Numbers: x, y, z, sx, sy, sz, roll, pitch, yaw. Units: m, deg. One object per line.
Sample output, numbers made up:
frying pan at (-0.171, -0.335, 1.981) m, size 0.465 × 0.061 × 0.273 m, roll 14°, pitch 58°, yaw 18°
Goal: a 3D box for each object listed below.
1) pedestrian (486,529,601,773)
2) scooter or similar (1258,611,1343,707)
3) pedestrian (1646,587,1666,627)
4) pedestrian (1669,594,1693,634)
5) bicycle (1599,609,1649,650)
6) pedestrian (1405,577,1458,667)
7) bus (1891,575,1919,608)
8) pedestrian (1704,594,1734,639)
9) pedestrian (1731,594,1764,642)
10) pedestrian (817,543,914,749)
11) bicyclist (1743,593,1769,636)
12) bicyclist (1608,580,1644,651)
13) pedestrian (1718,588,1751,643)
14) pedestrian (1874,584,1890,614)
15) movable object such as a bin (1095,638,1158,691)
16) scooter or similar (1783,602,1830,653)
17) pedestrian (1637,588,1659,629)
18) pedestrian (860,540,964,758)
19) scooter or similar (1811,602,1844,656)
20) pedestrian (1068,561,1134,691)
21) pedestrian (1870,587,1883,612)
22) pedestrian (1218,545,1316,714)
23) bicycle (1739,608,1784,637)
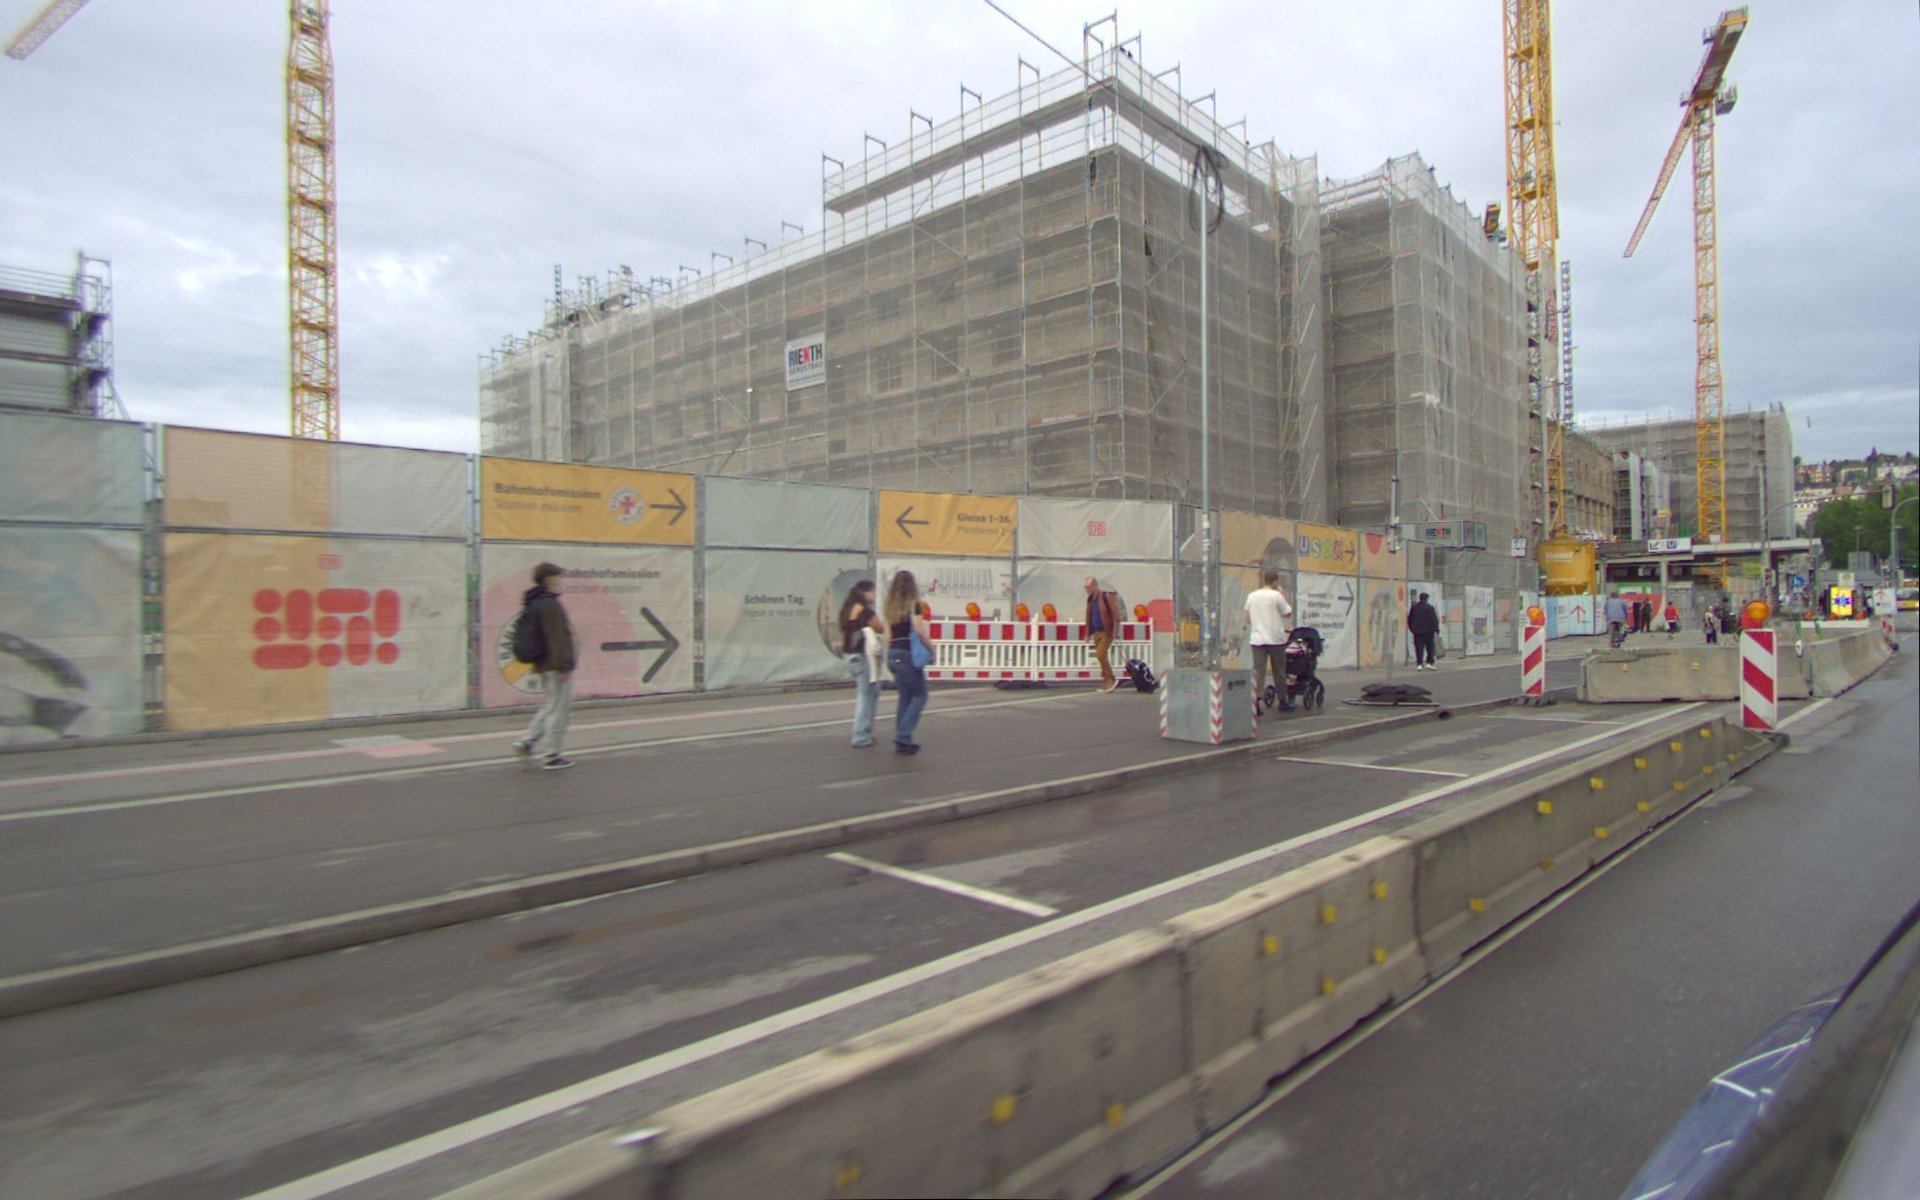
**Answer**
pedestrian at (-3.472, 0.402, 8.435) m, size 0.682 × 1.913 × 0.684 m, roll 0°, pitch -1°, yaw -45°
scooter or similar at (4.574, 0.767, 13.587) m, size 1.026 × 1.214 × 0.665 m, roll 0°, pitch -1°, yaw -42°
pedestrian at (36.083, 0.354, 52.461) m, size 0.618 × 2.039 × 0.576 m, roll -1°, pitch -1°, yaw 11°
pedestrian at (31.957, 0.619, 44.854) m, size 0.703 × 1.749 × 0.741 m, roll 0°, pitch 2°, yaw -45°
bicycle at (19.445, 0.850, 29.621) m, size 1.947 × 1.126 × 0.766 m, roll 0°, pitch 0°, yaw -42°
pedestrian at (10.308, 0.472, 22.131) m, size 0.650 × 1.919 × 0.849 m, roll 0°, pitch -1°, yaw -42°
bus at (94.869, -0.873, 100.638) m, size 2.988 × 3.178 × 7.651 m, roll -1°, pitch 0°, yaw 41°
pedestrian at (30.644, 0.645, 40.863) m, size 0.866 × 1.778 × 0.814 m, roll 0°, pitch -1°, yaw -42°
pedestrian at (30.965, 0.699, 39.815) m, size 0.797 × 1.777 × 0.809 m, roll 2°, pitch 3°, yaw 26°
pedestrian at (-0.926, 0.427, 9.896) m, size 0.681 × 1.913 × 0.684 m, roll 0°, pitch -1°, yaw -41°
bicyclist at (32.826, 0.597, 41.727) m, size 0.425 × 1.726 × 0.698 m, roll 0°, pitch -1°, yaw -28°
bicyclist at (19.392, 0.455, 29.480) m, size 0.589 × 2.039 × 0.727 m, roll 0°, pitch -1°, yaw -42°
pedestrian at (28.897, 0.571, 37.762) m, size 0.849 × 2.037 × 0.788 m, roll 0°, pitch 0°, yaw -37°
pedestrian at (63.063, -0.062, 69.254) m, size 0.731 × 2.039 × 0.637 m, roll -1°, pitch 0°, yaw 38°
movable object such as a bin at (2.567, 0.983, 15.579) m, size 0.763 × 0.743 × 0.598 m, roll 0°, pitch -1°, yaw -36°
scooter or similar at (22.784, 0.739, 27.245) m, size 1.003 × 1.350 × 0.494 m, roll 0°, pitch -1°, yaw -19°
pedestrian at (34.811, 0.425, 51.200) m, size 0.615 × 2.039 × 0.642 m, roll 0°, pitch -1°, yaw -22°
pedestrian at (-0.447, 0.428, 9.364) m, size 0.681 × 1.913 × 0.684 m, roll 0°, pitch -1°, yaw -41°
scooter or similar at (22.029, 0.722, 25.709) m, size 0.523 × 1.350 × 1.012 m, roll -1°, pitch -1°, yaw 36°
pedestrian at (2.159, 0.386, 15.513) m, size 0.642 × 1.919 × 0.769 m, roll 0°, pitch -1°, yaw -38°
pedestrian at (66.534, -0.025, 73.444) m, size 0.723 × 1.847 × 0.645 m, roll 0°, pitch 0°, yaw -43°
pedestrian at (3.901, 0.354, 12.855) m, size 0.955 × 2.042 × 0.804 m, roll 0°, pitch -1°, yaw -41°
bicycle at (33.203, 0.933, 41.913) m, size 1.951 × 1.148 × 0.757 m, roll 0°, pitch 1°, yaw -28°
